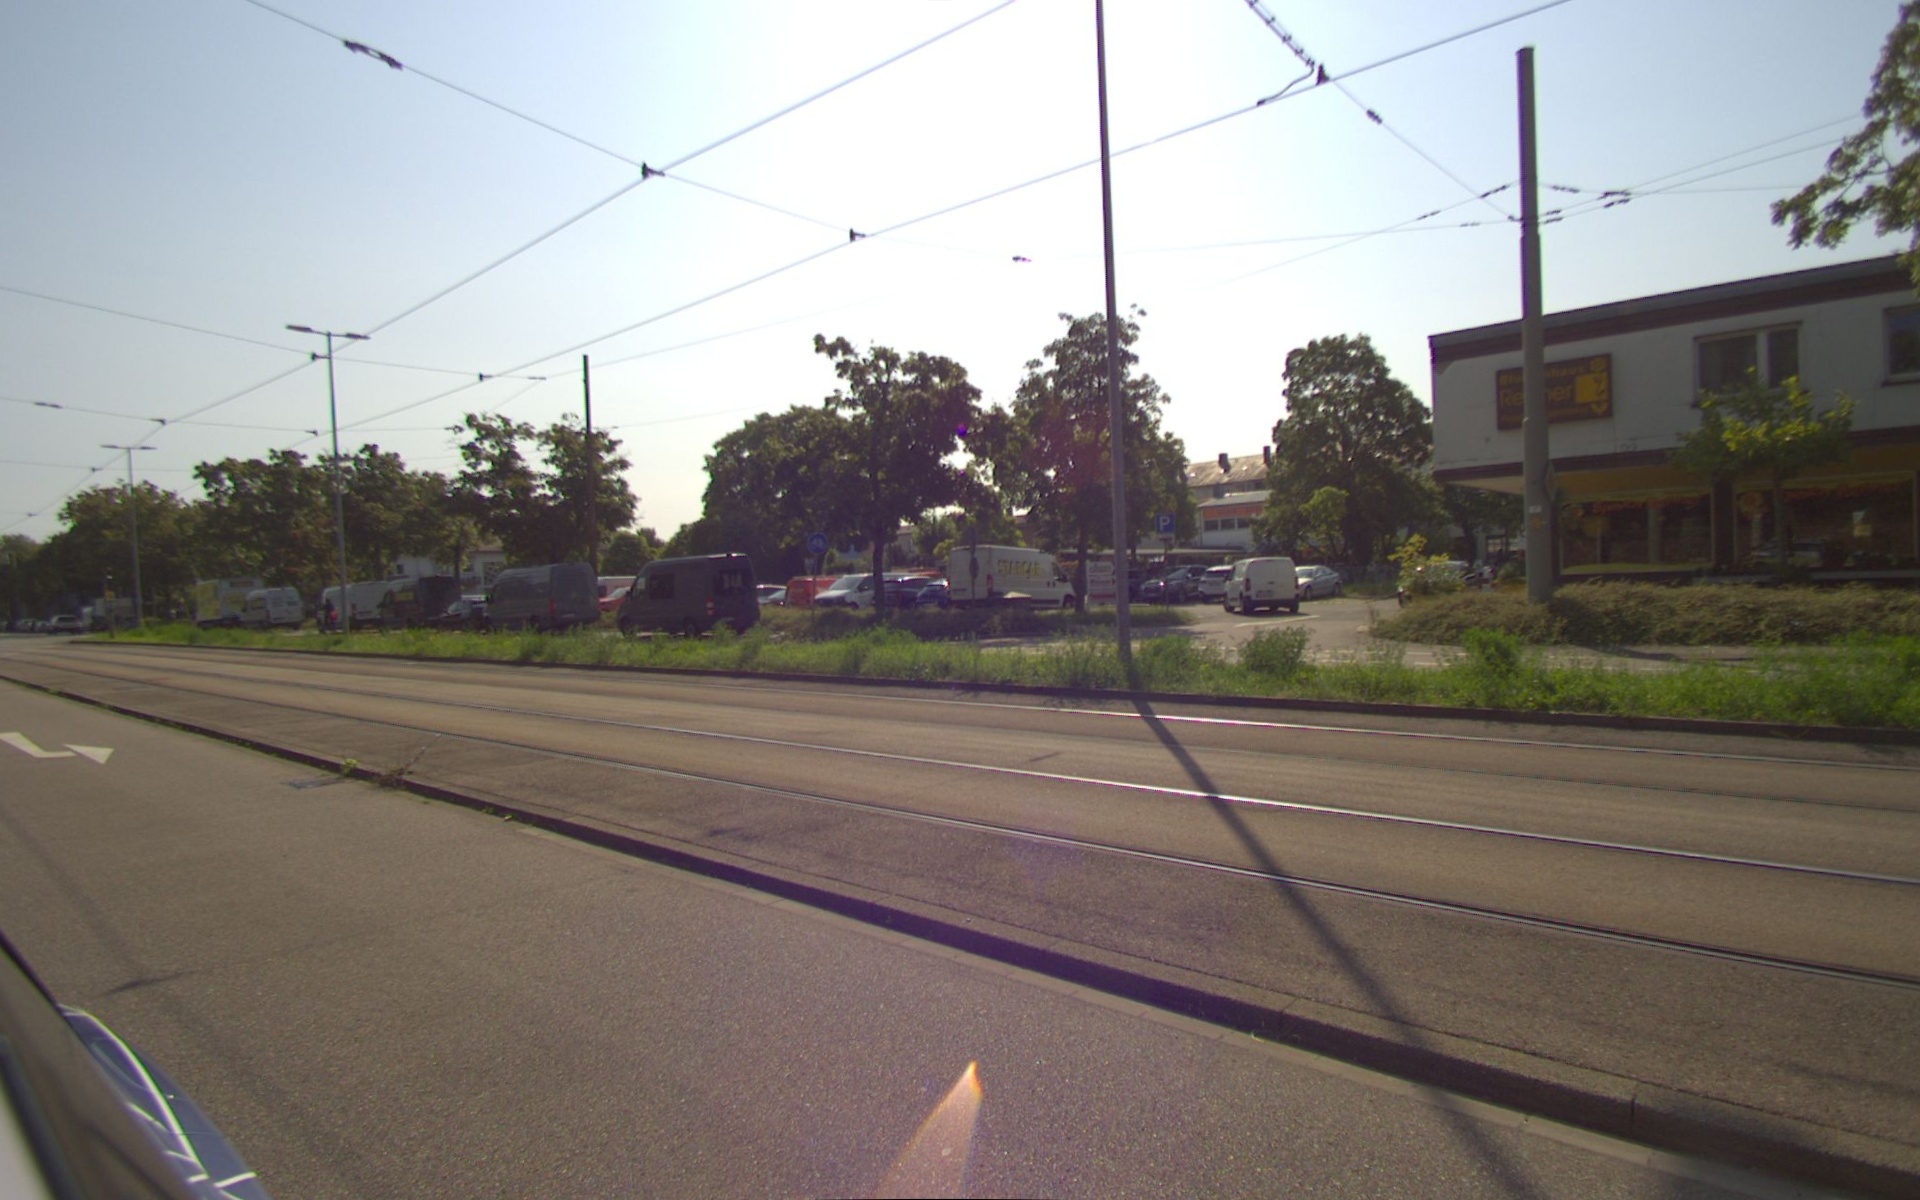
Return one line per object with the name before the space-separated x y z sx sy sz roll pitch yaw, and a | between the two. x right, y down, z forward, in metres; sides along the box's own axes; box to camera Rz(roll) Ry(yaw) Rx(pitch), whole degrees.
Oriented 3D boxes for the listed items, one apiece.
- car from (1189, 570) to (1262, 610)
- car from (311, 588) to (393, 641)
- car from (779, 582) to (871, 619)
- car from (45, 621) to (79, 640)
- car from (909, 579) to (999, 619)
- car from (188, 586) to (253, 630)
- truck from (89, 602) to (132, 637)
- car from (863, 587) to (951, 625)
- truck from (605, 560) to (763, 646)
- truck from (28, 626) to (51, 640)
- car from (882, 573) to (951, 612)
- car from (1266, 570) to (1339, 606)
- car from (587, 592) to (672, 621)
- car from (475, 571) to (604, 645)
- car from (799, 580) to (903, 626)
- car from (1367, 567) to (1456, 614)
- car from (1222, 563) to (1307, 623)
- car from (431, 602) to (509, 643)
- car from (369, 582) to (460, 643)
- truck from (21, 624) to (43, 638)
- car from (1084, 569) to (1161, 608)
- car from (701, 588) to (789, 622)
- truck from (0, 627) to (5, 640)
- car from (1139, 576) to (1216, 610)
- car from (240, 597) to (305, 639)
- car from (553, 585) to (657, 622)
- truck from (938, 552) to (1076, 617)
car | 11.754 -0.454 44.739 1.874 1.513 3.414 -2 3 39
car | -31.897 0.763 53.004 5.629 2.605 2.110 -1 0 42
car | -5.865 -0.010 44.256 1.632 1.530 3.884 -1 0 40
car | -77.575 2.600 87.393 3.950 1.531 1.904 -1 0 44
car | -0.188 -0.050 38.657 1.632 1.437 3.370 -1 0 40
car | -50.080 0.595 68.459 7.229 2.826 2.102 -1 0 42
truck | -81.966 1.862 97.547 8.789 3.145 2.248 -1 0 44
car | -2.085 0.237 40.429 1.632 1.437 3.370 -1 0 40
truck | -9.022 0.123 32.738 5.736 2.567 2.059 -1 0 41
truck | -112.309 4.006 123.493 3.654 1.687 1.669 -1 0 42
car | -2.513 -0.457 59.298 1.801 2.113 3.948 -1 2 39
car | 14.416 -0.525 42.534 3.491 1.353 1.492 -3 1 -45
car | -17.695 0.319 54.353 1.856 1.462 3.945 -1 0 41
car | -16.440 0.323 39.329 6.466 2.605 1.967 -1 3 43
car | -4.447 0.110 41.733 1.632 1.798 4.354 -1 0 40
car | 14.671 -0.320 32.818 1.613 1.353 3.873 -2 1 40
car | 10.090 -0.258 33.861 1.967 1.771 4.409 -3 1 8
car | -21.141 0.955 43.590 3.834 1.563 1.725 -1 2 44
car | -25.649 0.601 47.449 5.909 2.605 1.803 -2 2 43
truck | -117.958 3.978 128.664 3.654 1.687 1.669 -1 0 42
car | 7.878 -0.557 48.818 3.758 1.782 1.760 -1 0 -44
car | -10.027 0.222 47.473 1.619 1.474 4.125 -2 0 32
truck | -134.278 4.673 140.915 3.654 1.687 1.669 -1 0 42
car | 9.920 -0.334 45.990 3.661 1.353 1.493 -3 1 -41
car | -42.514 1.085 62.546 4.828 2.477 2.121 -1 0 40
car | -19.798 0.151 56.597 2.051 1.940 5.133 -1 0 40
truck | 1.821 -0.562 37.242 2.258 2.189 5.435 -1 0 40
